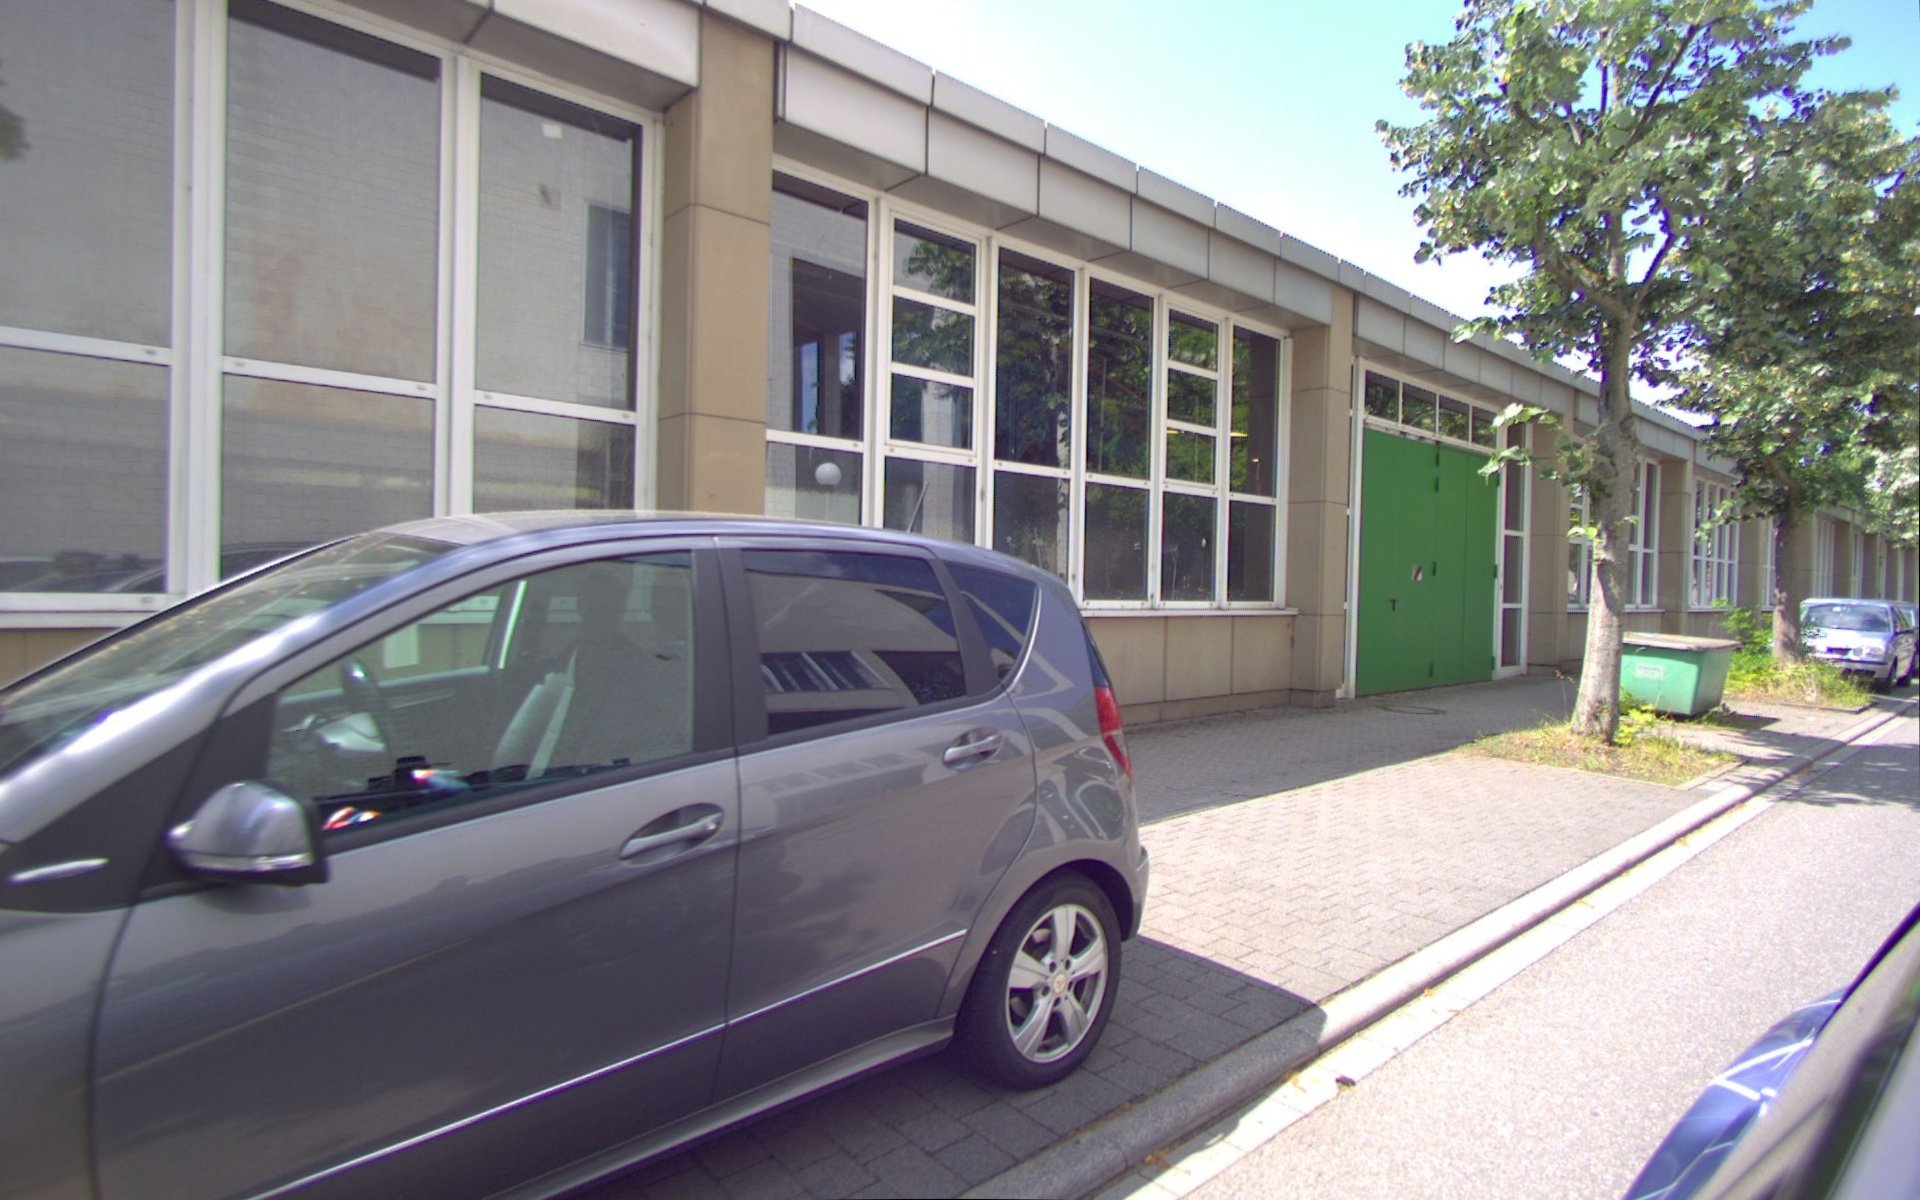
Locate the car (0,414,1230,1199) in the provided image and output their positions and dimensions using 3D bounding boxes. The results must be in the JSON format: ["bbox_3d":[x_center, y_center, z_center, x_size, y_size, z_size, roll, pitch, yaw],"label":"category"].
[{"bbox_3d":[-1.116,0.503,2.691,3.752,1.587,1.759,0,3,-42],"label":"car"}]

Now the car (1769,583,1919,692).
[{"bbox_3d":[15.057,0.553,17.027,3.752,1.530,1.621,0,4,-42],"label":"car"}]

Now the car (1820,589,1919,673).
[{"bbox_3d":[19.019,0.580,20.715,3.752,1.481,1.621,0,4,-42],"label":"car"}]
